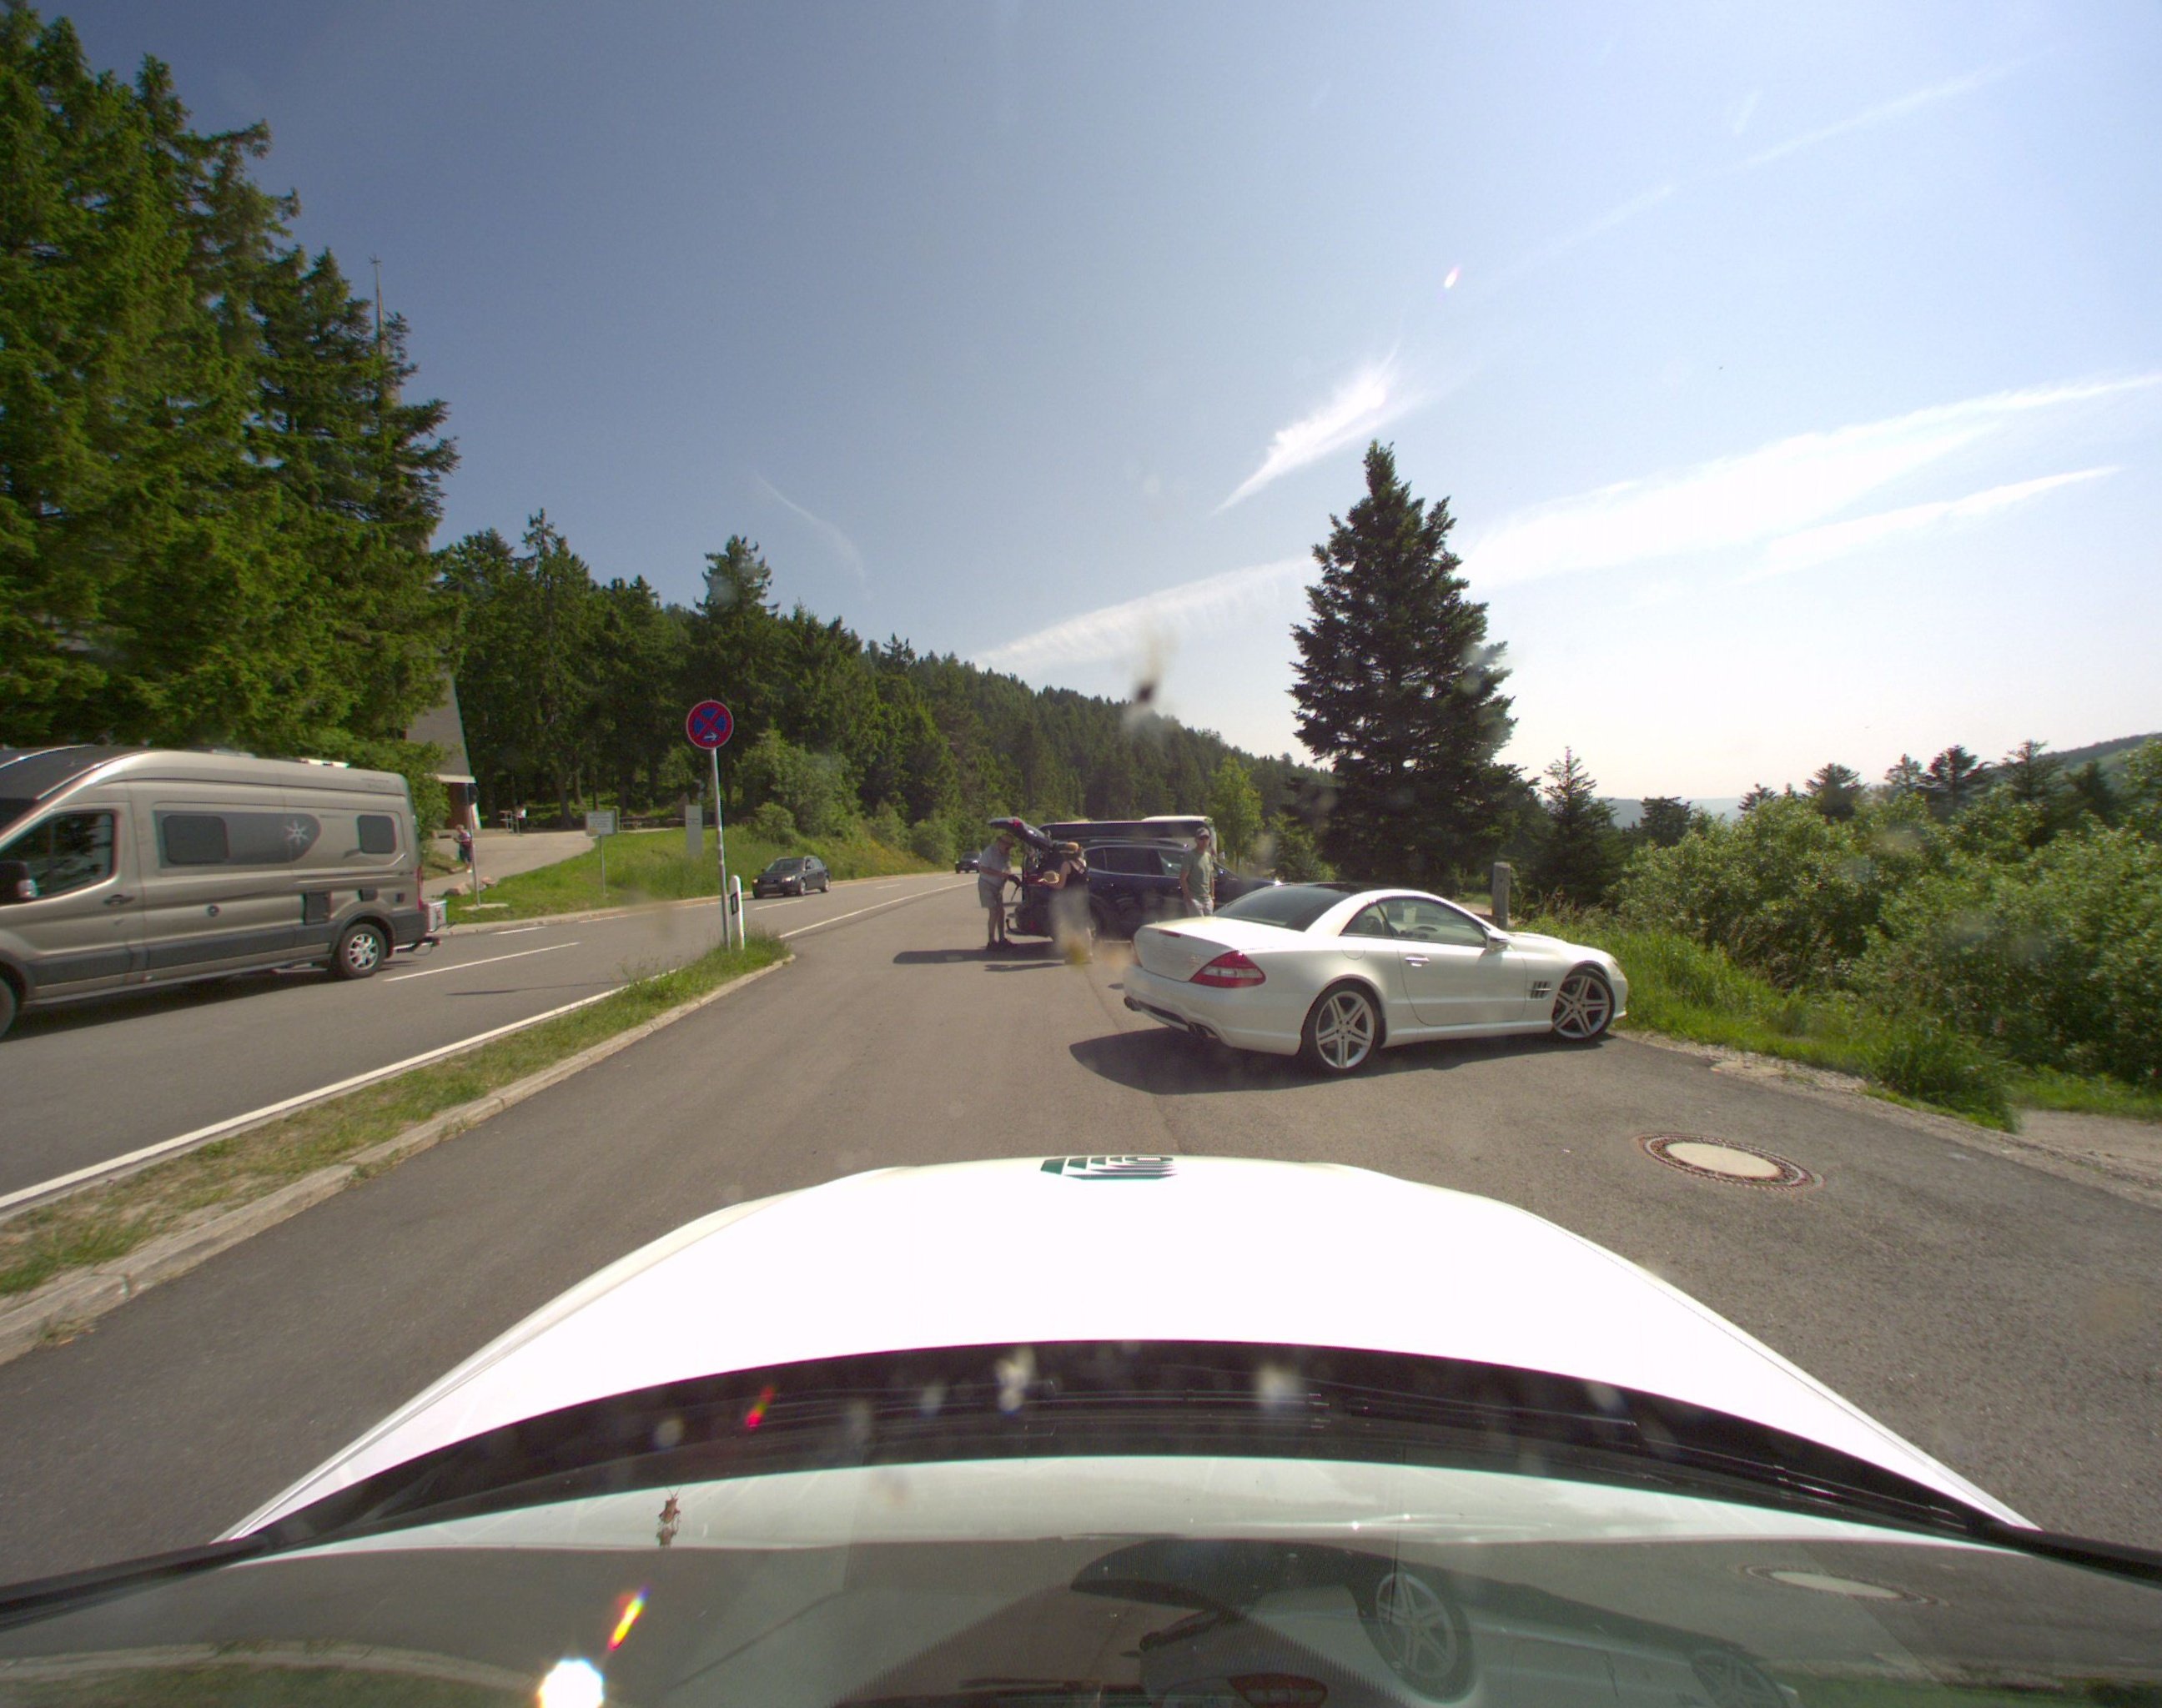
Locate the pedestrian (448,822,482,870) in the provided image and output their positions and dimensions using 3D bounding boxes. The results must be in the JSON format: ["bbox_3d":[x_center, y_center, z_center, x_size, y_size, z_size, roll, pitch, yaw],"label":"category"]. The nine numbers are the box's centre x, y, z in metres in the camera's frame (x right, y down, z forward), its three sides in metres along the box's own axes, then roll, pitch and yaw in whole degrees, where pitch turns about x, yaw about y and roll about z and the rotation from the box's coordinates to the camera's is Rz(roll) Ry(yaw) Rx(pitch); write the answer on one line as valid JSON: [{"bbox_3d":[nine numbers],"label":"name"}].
[{"bbox_3d":[-21.864,-0.285,28.898,0.722,1.681,0.678,-3,0,-20],"label":"pedestrian"}]

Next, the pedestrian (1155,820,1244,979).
[{"bbox_3d":[1.403,0.515,9.688,0.751,1.800,0.728,0,-1,-33],"label":"pedestrian"}]

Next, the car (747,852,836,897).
[{"bbox_3d":[-10.709,0.720,30.462,1.701,1.437,4.449,-3,1,0],"label":"car"}]

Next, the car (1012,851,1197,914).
[{"bbox_3d":[0.472,0.624,18.819,4.078,1.376,1.698,0,0,-7],"label":"car"}]

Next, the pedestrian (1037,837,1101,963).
[{"bbox_3d":[-0.165,0.595,10.827,0.716,1.613,0.533,0,-1,-21],"label":"pedestrian"}]

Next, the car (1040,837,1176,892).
[{"bbox_3d":[0.861,0.324,26.616,4.231,1.553,1.837,-2,0,-1],"label":"car"}]

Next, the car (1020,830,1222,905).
[{"bbox_3d":[1.009,0.319,21.047,4.931,1.695,1.946,-2,0,1],"label":"car"}]

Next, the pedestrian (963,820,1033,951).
[{"bbox_3d":[-1.230,0.427,12.128,0.728,1.870,0.763,1,3,29],"label":"pedestrian"}]

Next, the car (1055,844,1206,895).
[{"bbox_3d":[1.393,0.441,23.942,4.231,1.269,1.837,-2,0,-1],"label":"car"}]

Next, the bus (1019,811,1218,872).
[{"bbox_3d":[2.603,-0.814,55.059,13.015,3.532,3.052,-2,0,9],"label":"bus"}]

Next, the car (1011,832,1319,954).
[{"bbox_3d":[1.141,0.567,12.326,4.339,1.626,1.866,1,-1,-6],"label":"car"}]

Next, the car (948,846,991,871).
[{"bbox_3d":[-8.441,0.314,62.162,1.983,1.647,4.577,-3,1,7],"label":"car"}]

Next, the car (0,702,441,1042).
[{"bbox_3d":[-9.832,0.175,8.307,2.007,2.751,5.910,-3,1,-3],"label":"car"}]

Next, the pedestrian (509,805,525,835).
[{"bbox_3d":[-36.707,-2.199,52.989,0.674,1.877,0.545,-3,0,32],"label":"pedestrian"}]

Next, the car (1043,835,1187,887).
[{"bbox_3d":[1.188,0.235,29.738,5.019,1.651,2.047,-2,0,-1],"label":"car"}]

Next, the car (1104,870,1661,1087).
[{"bbox_3d":[2.562,0.825,6.822,4.417,1.296,1.742,1,1,-24],"label":"car"}]
